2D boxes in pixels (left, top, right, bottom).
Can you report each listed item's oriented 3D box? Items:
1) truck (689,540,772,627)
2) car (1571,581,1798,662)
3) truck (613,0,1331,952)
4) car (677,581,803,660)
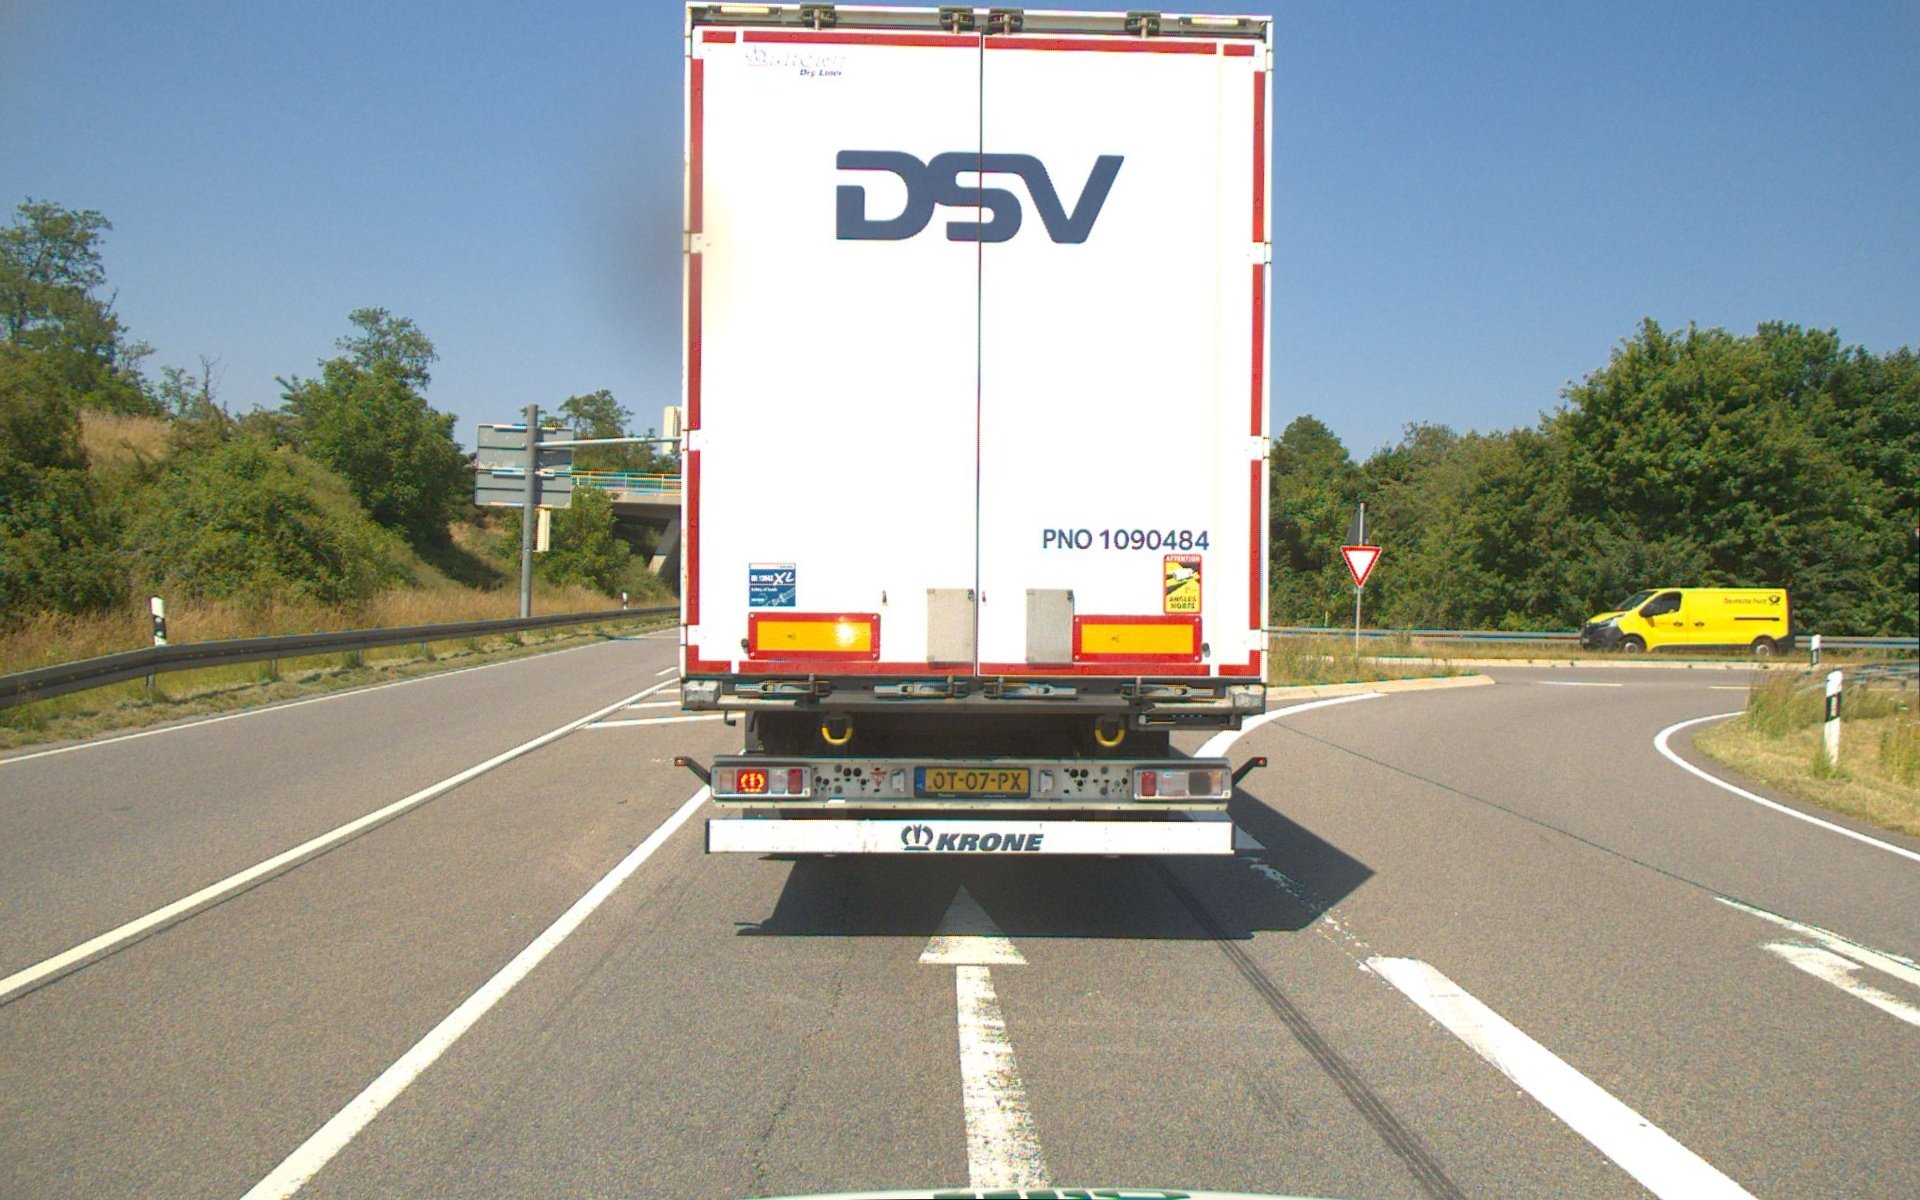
[{"bbox_3d":[-10.026,-0.666,72.873,2.591,3.600,7.888,1,0,-1],"label":"truck"},{"bbox_3d":[19.367,0.570,44.368,5.211,2.049,2.000,1,-1,2],"label":"car"},{"bbox_3d":[-0.056,-0.559,11.773,2.927,4.011,9.872,1,0,-1],"label":"truck"},{"bbox_3d":[-4.751,0.416,36.298,1.724,1.626,4.504,0,0,6],"label":"car"}]
